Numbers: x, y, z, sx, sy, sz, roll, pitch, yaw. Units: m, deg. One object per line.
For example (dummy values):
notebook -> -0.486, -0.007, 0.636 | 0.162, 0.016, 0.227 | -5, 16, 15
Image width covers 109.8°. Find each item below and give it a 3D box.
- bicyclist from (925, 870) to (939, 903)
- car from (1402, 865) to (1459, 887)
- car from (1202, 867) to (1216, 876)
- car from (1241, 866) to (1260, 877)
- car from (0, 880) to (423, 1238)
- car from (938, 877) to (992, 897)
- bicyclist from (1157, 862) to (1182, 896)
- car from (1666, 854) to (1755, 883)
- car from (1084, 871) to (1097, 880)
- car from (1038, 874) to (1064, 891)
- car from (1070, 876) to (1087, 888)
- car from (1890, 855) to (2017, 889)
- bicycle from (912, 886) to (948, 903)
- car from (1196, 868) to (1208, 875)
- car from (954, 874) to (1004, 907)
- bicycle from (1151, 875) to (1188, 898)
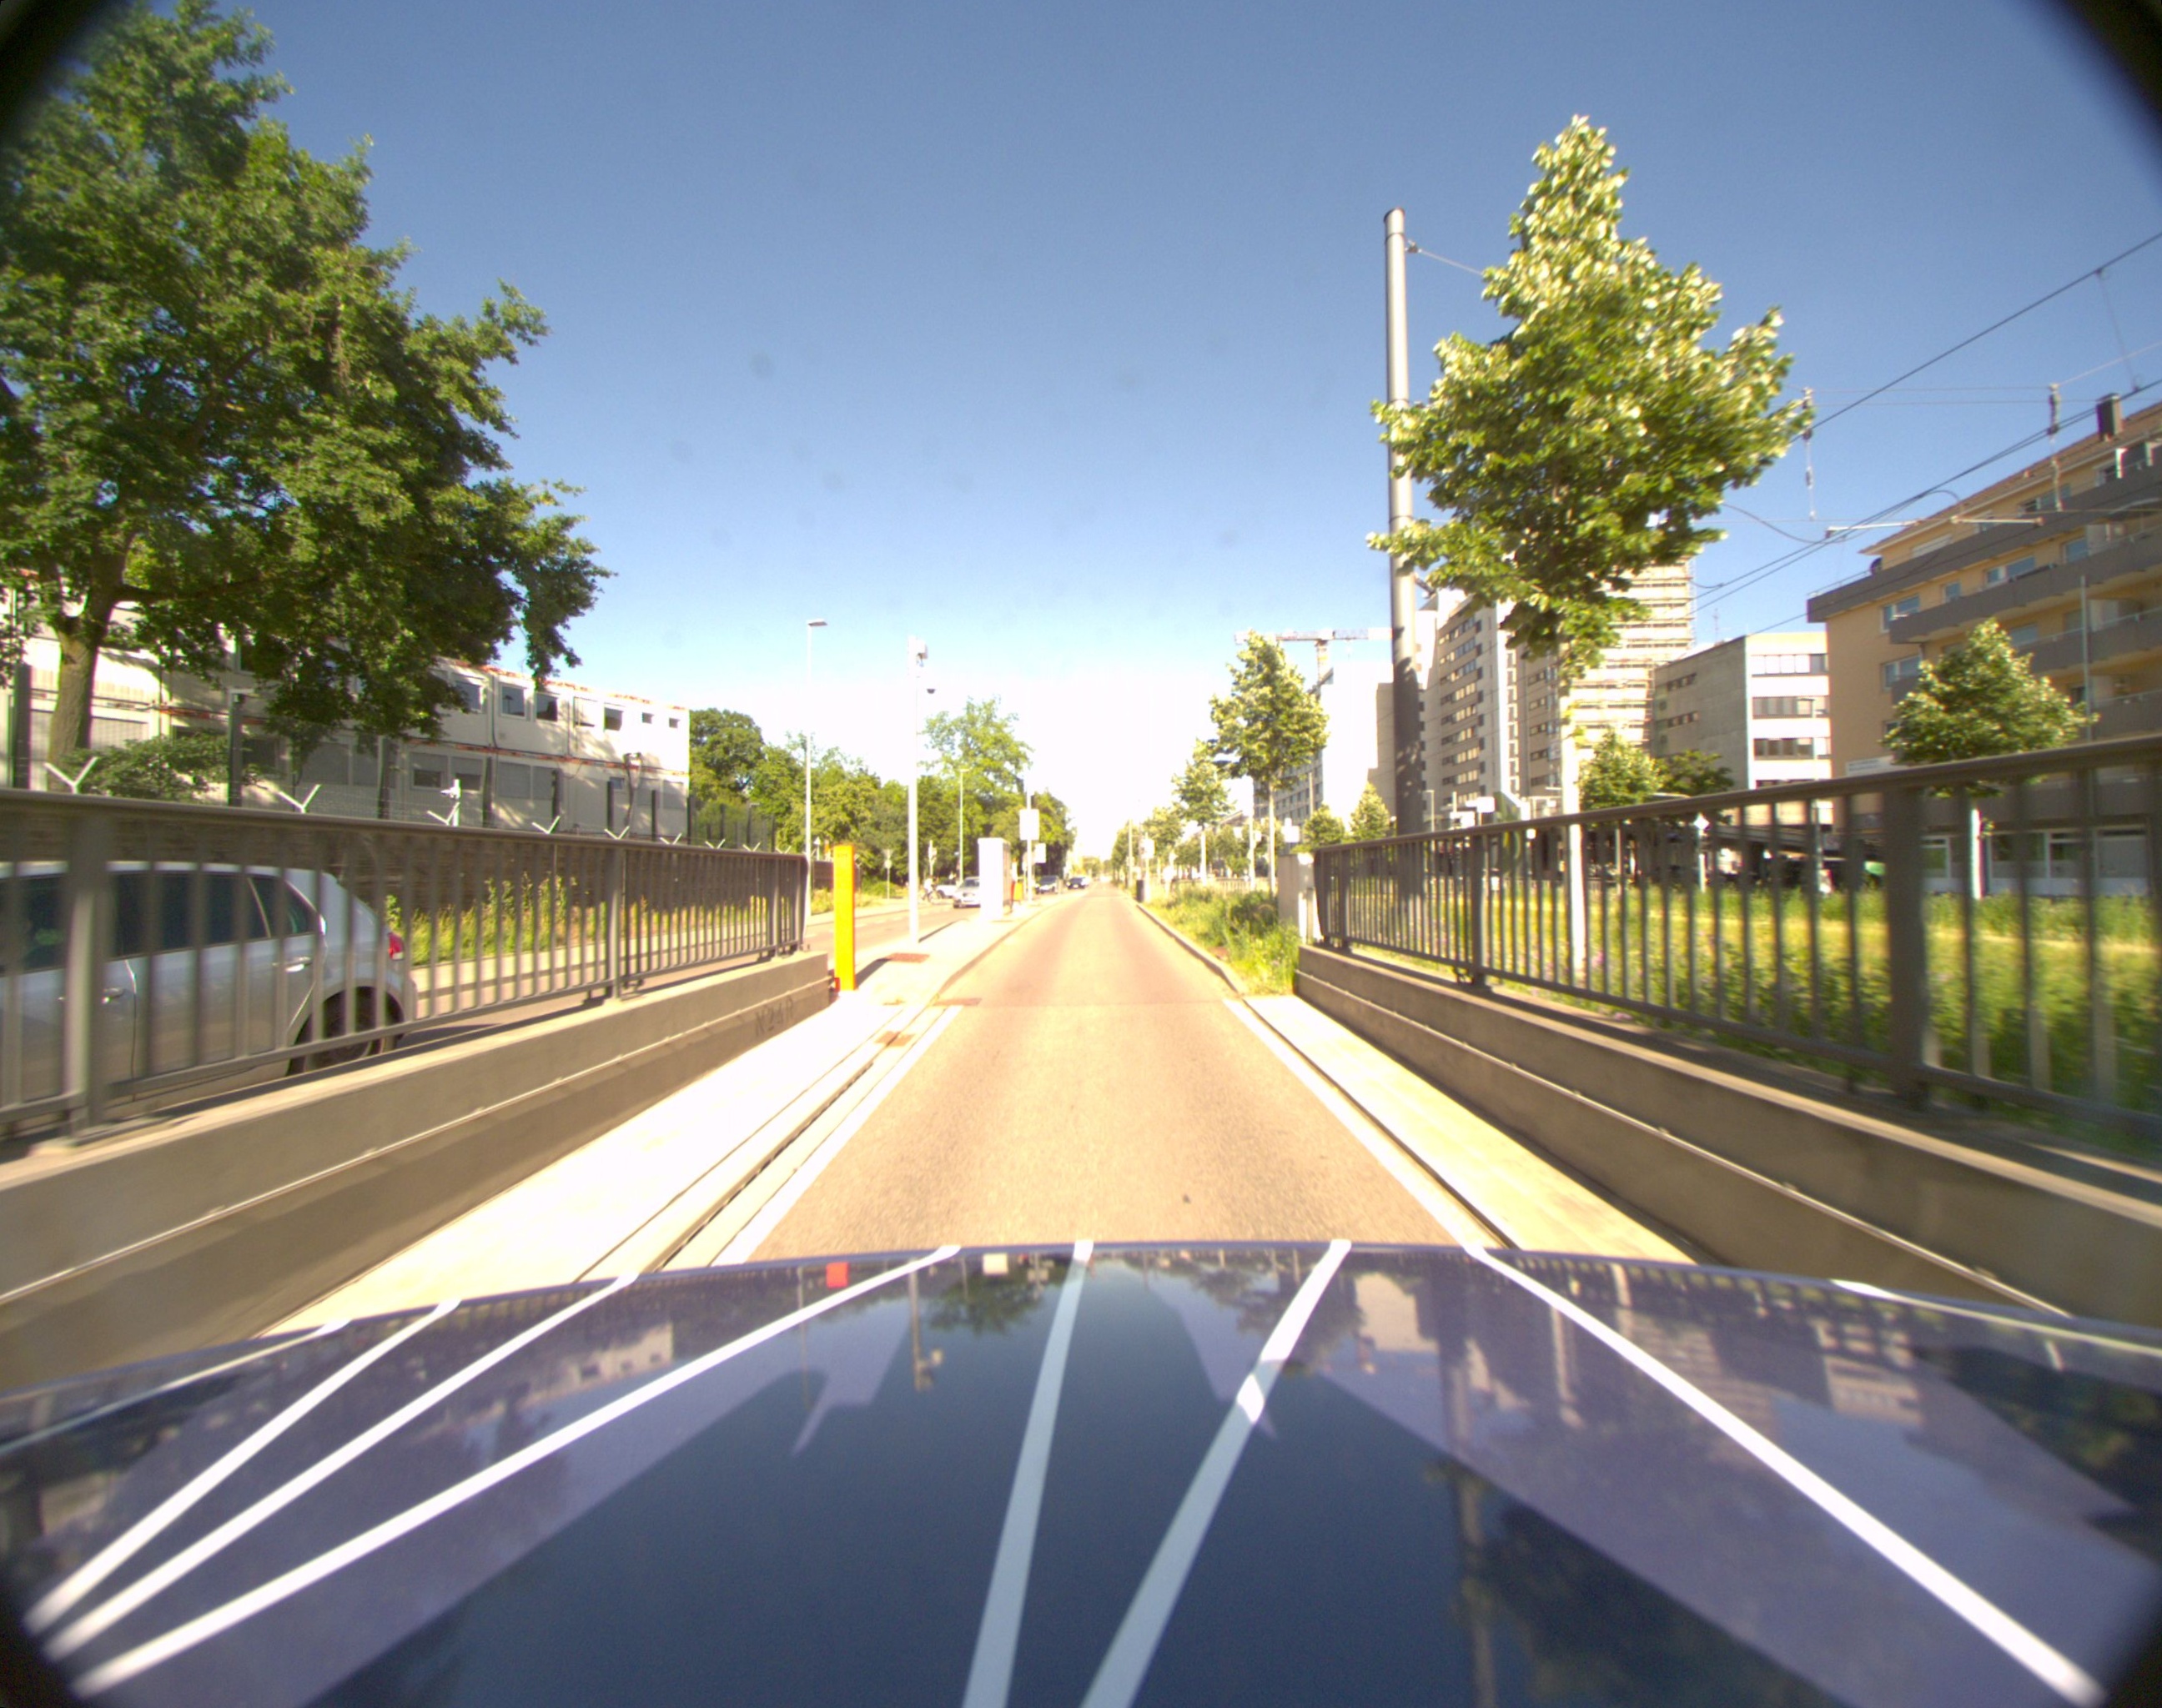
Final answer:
bicyclist -> -7.994, 1.737, 40.719 | 0.700, 1.699, 0.659 | 2, -1, -10
car -> 25.291, 1.551, 55.168 | 1.914, 1.494, 4.657 | -1, -1, 0
car -> 24.527, 3.395, 146.030 | 1.914, 1.561, 4.595 | -1, -1, 0
car -> 25.720, 2.672, 115.335 | 1.914, 1.561, 4.595 | -1, -1, 0
car -> -5.294, 0.891, 3.120 | 1.671, 1.427, 3.973 | -2, -1, 1
car -> -8.667, 2.446, 56.814 | 3.734, 1.393, 1.483 | -2, -1, 23
bicyclist -> 4.426, 1.232, 38.028 | 0.861, 1.676, 0.818 | -1, -1, -33
car -> 43.351, 1.002, 52.486 | 2.013, 1.907, 4.654 | -1, -1, -6
car -> 1.489, 3.270, 114.140 | 1.829, 1.328, 4.001 | -1, -1, 2
car -> -2.462, 2.359, 62.740 | 1.829, 1.328, 4.001 | -1, -1, 2
car -> -0.263, 3.285, 90.572 | 1.829, 1.328, 4.001 | -1, -1, 2
car -> 48.195, 0.989, 42.050 | 4.652, 1.768, 2.014 | -1, -1, 1
bicycle -> -8.099, 2.162, 40.706 | 1.862, 0.896, 0.492 | 2, -1, -10
car -> 26.417, 3.831, 165.879 | 1.914, 1.561, 4.595 | -1, -1, 0
car -> -4.705, 1.676, 35.631 | 1.838, 1.393, 4.299 | -1, -1, -1
bicycle -> 4.434, 1.599, 38.034 | 0.726, 1.050, 1.978 | -2, 1, -33
